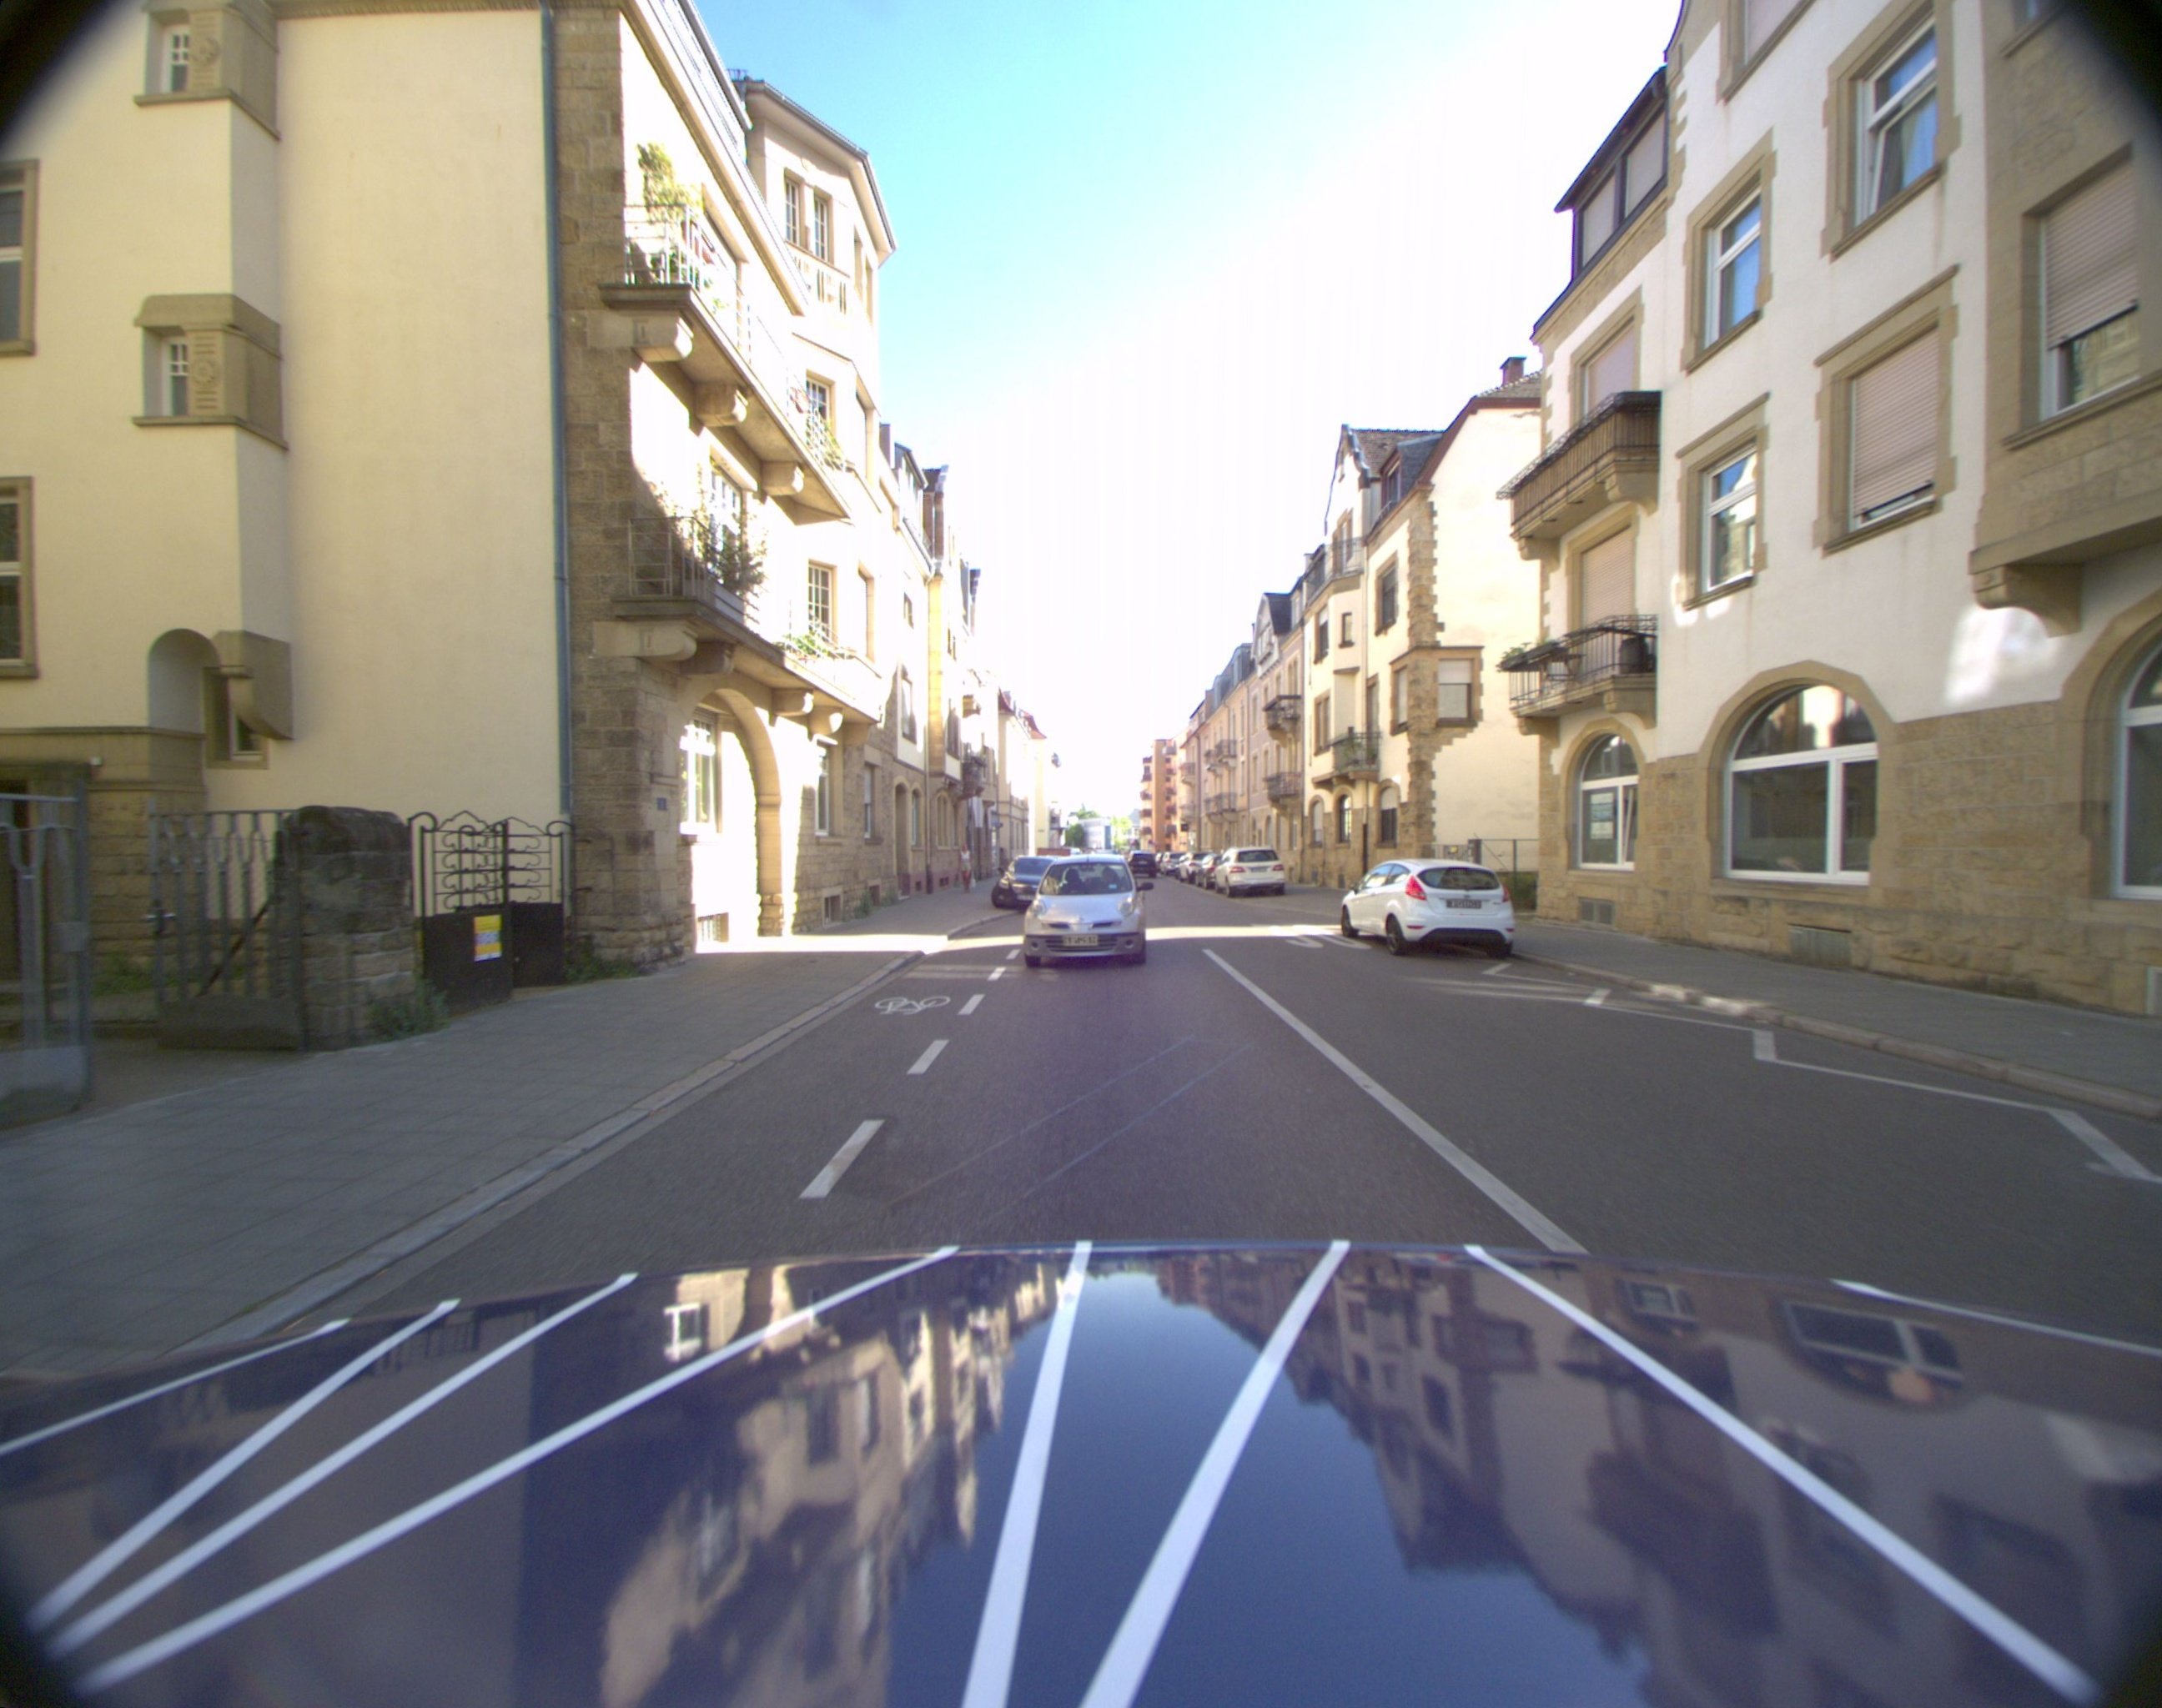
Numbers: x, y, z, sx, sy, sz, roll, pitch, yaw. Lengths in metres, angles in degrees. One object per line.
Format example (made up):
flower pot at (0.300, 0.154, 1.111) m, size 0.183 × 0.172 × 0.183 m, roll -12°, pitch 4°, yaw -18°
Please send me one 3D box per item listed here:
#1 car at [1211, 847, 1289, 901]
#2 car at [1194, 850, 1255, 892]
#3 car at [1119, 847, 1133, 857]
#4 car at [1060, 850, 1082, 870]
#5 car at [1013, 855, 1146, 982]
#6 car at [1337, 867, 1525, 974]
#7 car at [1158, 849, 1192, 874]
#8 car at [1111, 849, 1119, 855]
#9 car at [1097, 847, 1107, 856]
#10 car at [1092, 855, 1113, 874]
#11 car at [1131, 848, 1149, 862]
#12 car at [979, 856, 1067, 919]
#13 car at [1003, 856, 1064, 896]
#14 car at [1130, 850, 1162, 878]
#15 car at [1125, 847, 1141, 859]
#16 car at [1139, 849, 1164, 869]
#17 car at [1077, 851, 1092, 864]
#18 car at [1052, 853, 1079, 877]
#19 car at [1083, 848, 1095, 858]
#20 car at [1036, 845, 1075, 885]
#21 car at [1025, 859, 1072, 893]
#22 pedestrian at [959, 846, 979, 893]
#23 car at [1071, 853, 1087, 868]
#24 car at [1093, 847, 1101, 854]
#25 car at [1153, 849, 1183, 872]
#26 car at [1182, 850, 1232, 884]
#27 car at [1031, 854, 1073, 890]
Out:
car at (5.981, 0.632, 27.406) m, size 1.917 × 1.649 × 4.346 m, roll -4°, pitch 1°, yaw 2°
car at (6.190, 0.687, 33.246) m, size 1.917 × 1.509 × 4.346 m, roll -4°, pitch 1°, yaw 2°
car at (7.304, -0.345, 124.492) m, size 1.917 × 1.614 × 4.345 m, roll -4°, pitch 1°, yaw 0°
car at (-0.882, 0.529, 66.981) m, size 1.833 × 1.649 × 3.819 m, roll -3°, pitch 0°, yaw 0°
car at (0.095, 0.832, 11.537) m, size 1.651 × 1.559 × 3.617 m, roll -2°, pitch 0°, yaw 4°
car at (5.467, 0.954, 12.370) m, size 1.556 × 1.403 × 3.572 m, roll 1°, pitch 0°, yaw 3°
car at (6.498, 0.469, 52.887) m, size 1.917 × 1.509 × 4.346 m, roll -4°, pitch 1°, yaw 2°
car at (9.308, -0.497, 207.443) m, size 1.917 × 1.614 × 4.345 m, roll -4°, pitch 1°, yaw 0°
car at (4.039, -0.552, 144.557) m, size 1.877 × 1.657 × 4.000 m, roll -2°, pitch 1°, yaw 2°
car at (2.075, 1.004, 73.222) m, size 1.877 × 1.657 × 4.000 m, roll -2°, pitch 1°, yaw 2°
car at (7.574, 0.127, 98.155) m, size 1.917 × 1.614 × 4.345 m, roll -4°, pitch 1°, yaw 0°
car at (-1.570, 0.891, 21.925) m, size 1.998 × 1.528 × 4.000 m, roll -3°, pitch 0°, yaw 2°
car at (-1.695, 0.770, 28.513) m, size 1.833 × 1.337 × 4.001 m, roll -3°, pitch 0°, yaw 2°
car at (4.105, 0.588, 48.461) m, size 1.917 × 1.718 × 4.347 m, roll 0°, pitch 0°, yaw 3°
car at (7.457, -0.189, 108.728) m, size 1.917 × 1.614 × 4.345 m, roll -4°, pitch 1°, yaw 0°
car at (6.438, 0.386, 69.658) m, size 1.917 × 1.614 × 4.346 m, roll -4°, pitch 1°, yaw 2°
car at (0.493, 0.475, 106.676) m, size 1.877 × 1.657 × 4.000 m, roll -2°, pitch 1°, yaw 2°
car at (-1.065, 0.748, 54.624) m, size 1.833 × 1.586 × 3.819 m, roll -3°, pitch 0°, yaw 0°
car at (1.433, -0.208, 130.218) m, size 1.877 × 1.657 × 4.000 m, roll -2°, pitch 1°, yaw 2°
car at (-1.377, 0.575, 41.937) m, size 1.833 × 2.023 × 3.820 m, roll -3°, pitch 0°, yaw 1°
car at (-1.358, 0.926, 33.307) m, size 1.833 × 1.337 × 3.819 m, roll -3°, pitch 0°, yaw 0°
pedestrian at (-4.076, 0.553, 27.641) m, size 0.578 × 1.712 × 0.697 m, roll 1°, pitch 1°, yaw 2°
car at (-0.238, 0.773, 95.412) m, size 1.877 × 1.657 × 4.000 m, roll -2°, pitch 1°, yaw 2°
car at (3.911, -0.801, 183.767) m, size 1.877 × 1.657 × 4.000 m, roll -2°, pitch 1°, yaw 2°
car at (6.719, 0.480, 59.314) m, size 1.917 × 1.614 × 4.346 m, roll -4°, pitch 1°, yaw 2°
car at (6.424, 0.616, 39.099) m, size 1.917 × 1.509 × 4.346 m, roll -4°, pitch 1°, yaw 2°
car at (-1.386, 0.841, 37.465) m, size 1.833 × 1.586 × 3.819 m, roll -3°, pitch 0°, yaw 0°
